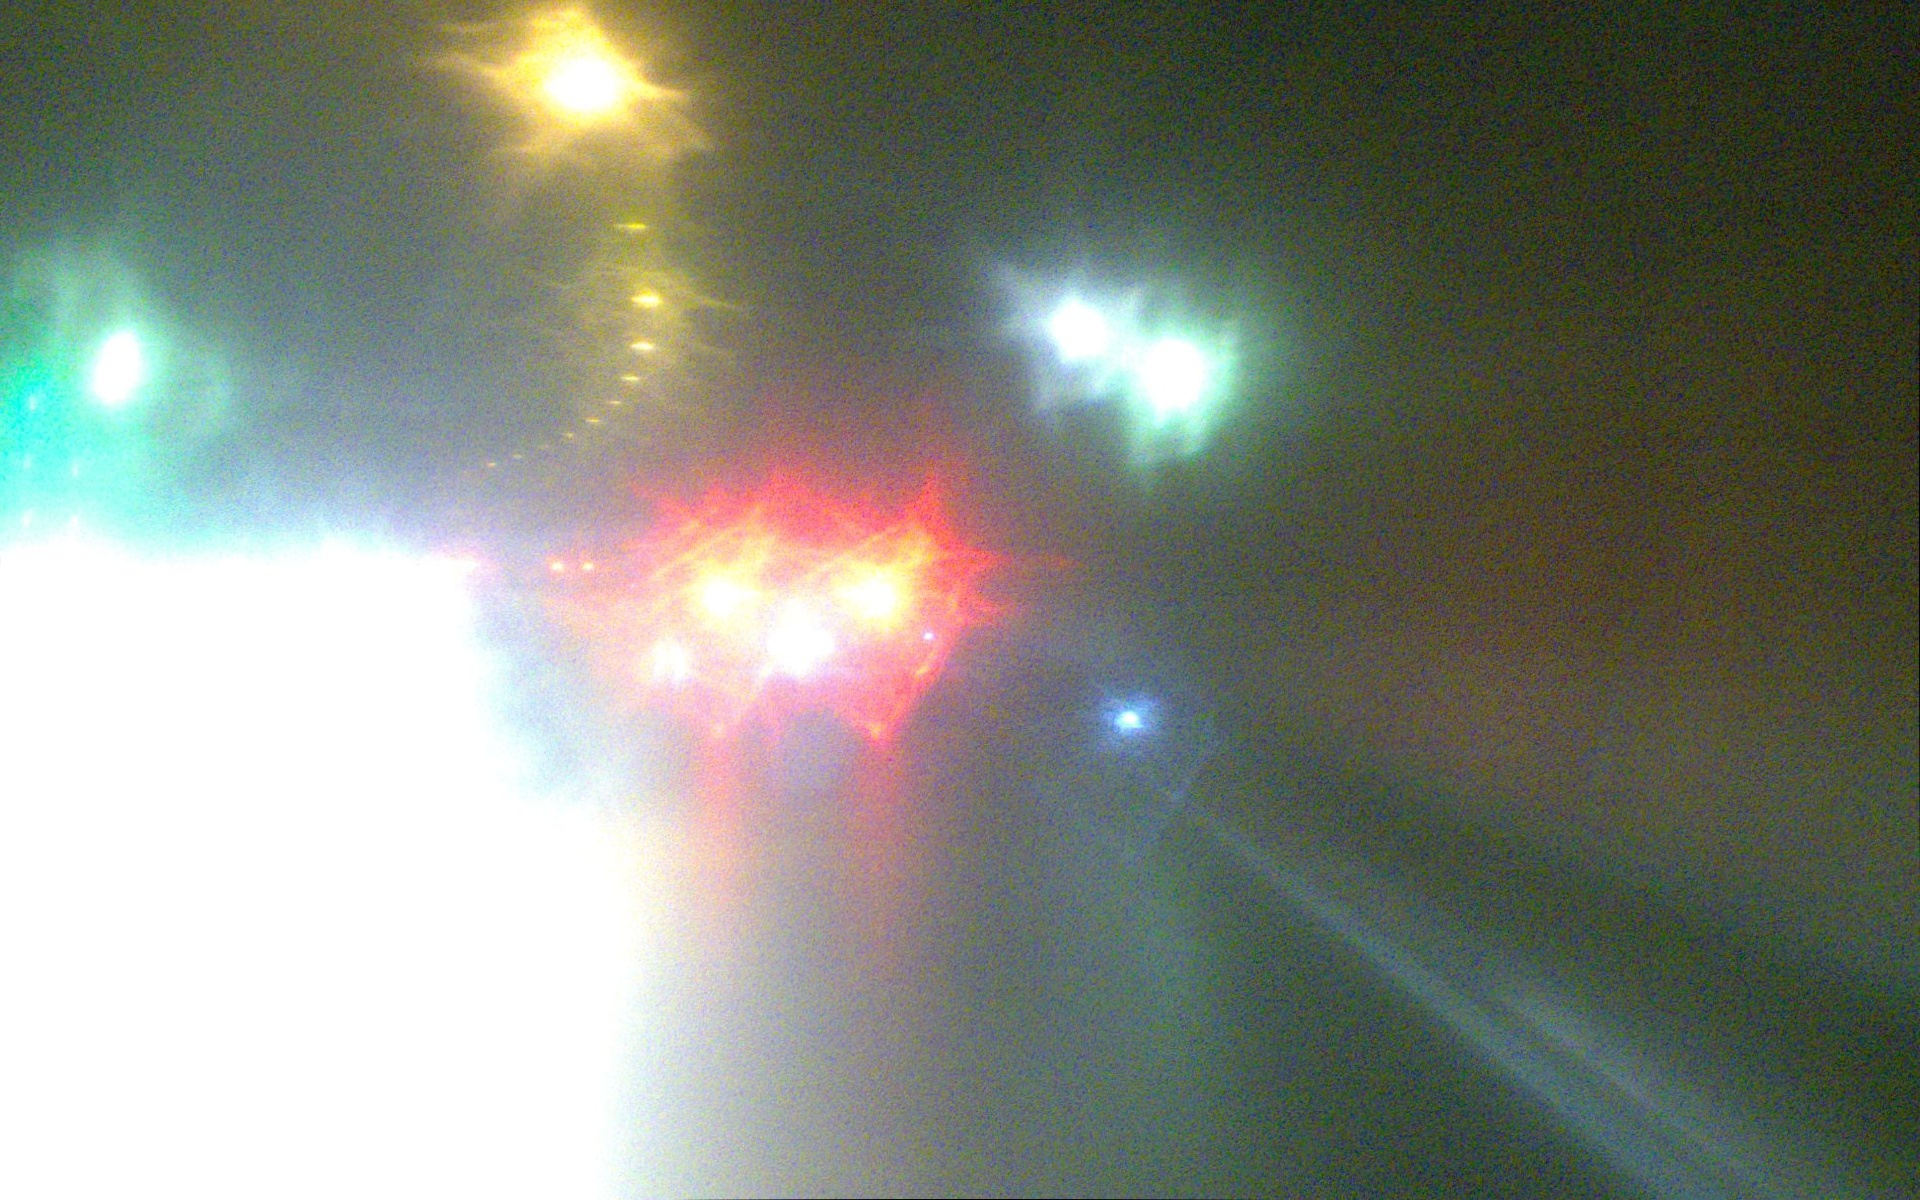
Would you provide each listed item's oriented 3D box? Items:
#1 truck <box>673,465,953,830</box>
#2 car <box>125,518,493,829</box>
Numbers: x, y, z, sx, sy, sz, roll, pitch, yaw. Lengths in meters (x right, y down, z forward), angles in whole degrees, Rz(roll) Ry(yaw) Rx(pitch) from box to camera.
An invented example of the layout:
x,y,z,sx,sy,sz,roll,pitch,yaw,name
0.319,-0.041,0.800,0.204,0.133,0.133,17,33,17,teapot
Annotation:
x,y,z,sx,sy,sz,roll,pitch,yaw,name
-1.300,0.345,32.583,2.262,3.000,7.416,2,1,-1,truck
-3.716,0.352,20.167,1.631,1.644,3.776,0,1,-3,car
